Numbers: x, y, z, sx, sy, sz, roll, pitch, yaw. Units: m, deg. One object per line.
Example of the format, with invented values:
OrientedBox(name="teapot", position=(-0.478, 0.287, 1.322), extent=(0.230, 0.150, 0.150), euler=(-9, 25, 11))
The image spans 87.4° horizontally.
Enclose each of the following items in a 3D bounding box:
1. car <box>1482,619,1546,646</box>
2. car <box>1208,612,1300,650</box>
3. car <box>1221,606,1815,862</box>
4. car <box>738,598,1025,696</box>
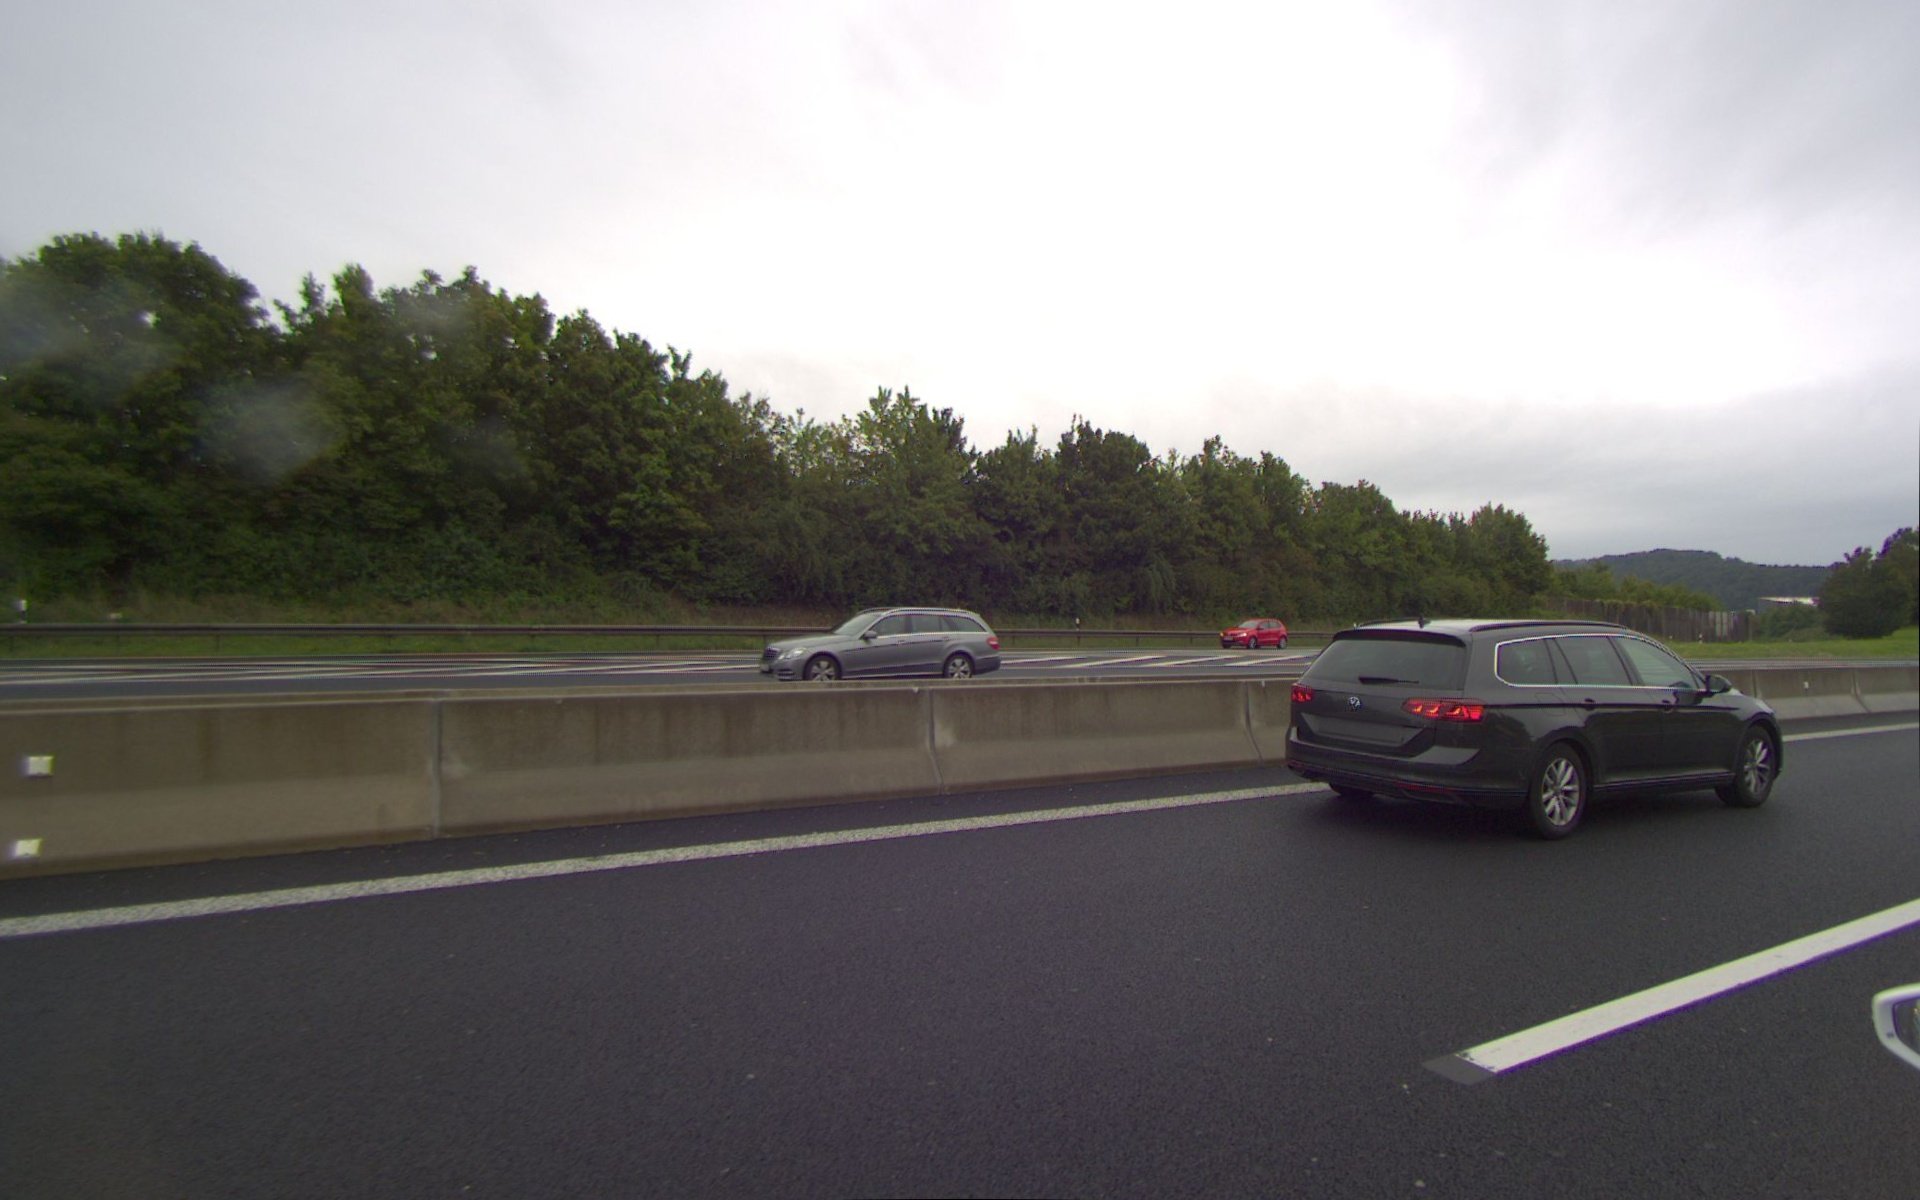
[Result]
OrientedBox(name="car", position=(37.198, 2.158, 67.420), extent=(4.527, 1.718, 2.163), euler=(1, -1, -38))
OrientedBox(name="car", position=(14.461, 1.501, 49.335), extent=(4.589, 1.718, 2.162), euler=(1, -1, -39))
OrientedBox(name="car", position=(4.532, 0.861, 7.970), extent=(4.793, 1.517, 1.892), euler=(2, -1, -29))
OrientedBox(name="car", position=(-1.508, 0.867, 19.701), extent=(5.181, 1.718, 2.172), euler=(1, -1, -27))
